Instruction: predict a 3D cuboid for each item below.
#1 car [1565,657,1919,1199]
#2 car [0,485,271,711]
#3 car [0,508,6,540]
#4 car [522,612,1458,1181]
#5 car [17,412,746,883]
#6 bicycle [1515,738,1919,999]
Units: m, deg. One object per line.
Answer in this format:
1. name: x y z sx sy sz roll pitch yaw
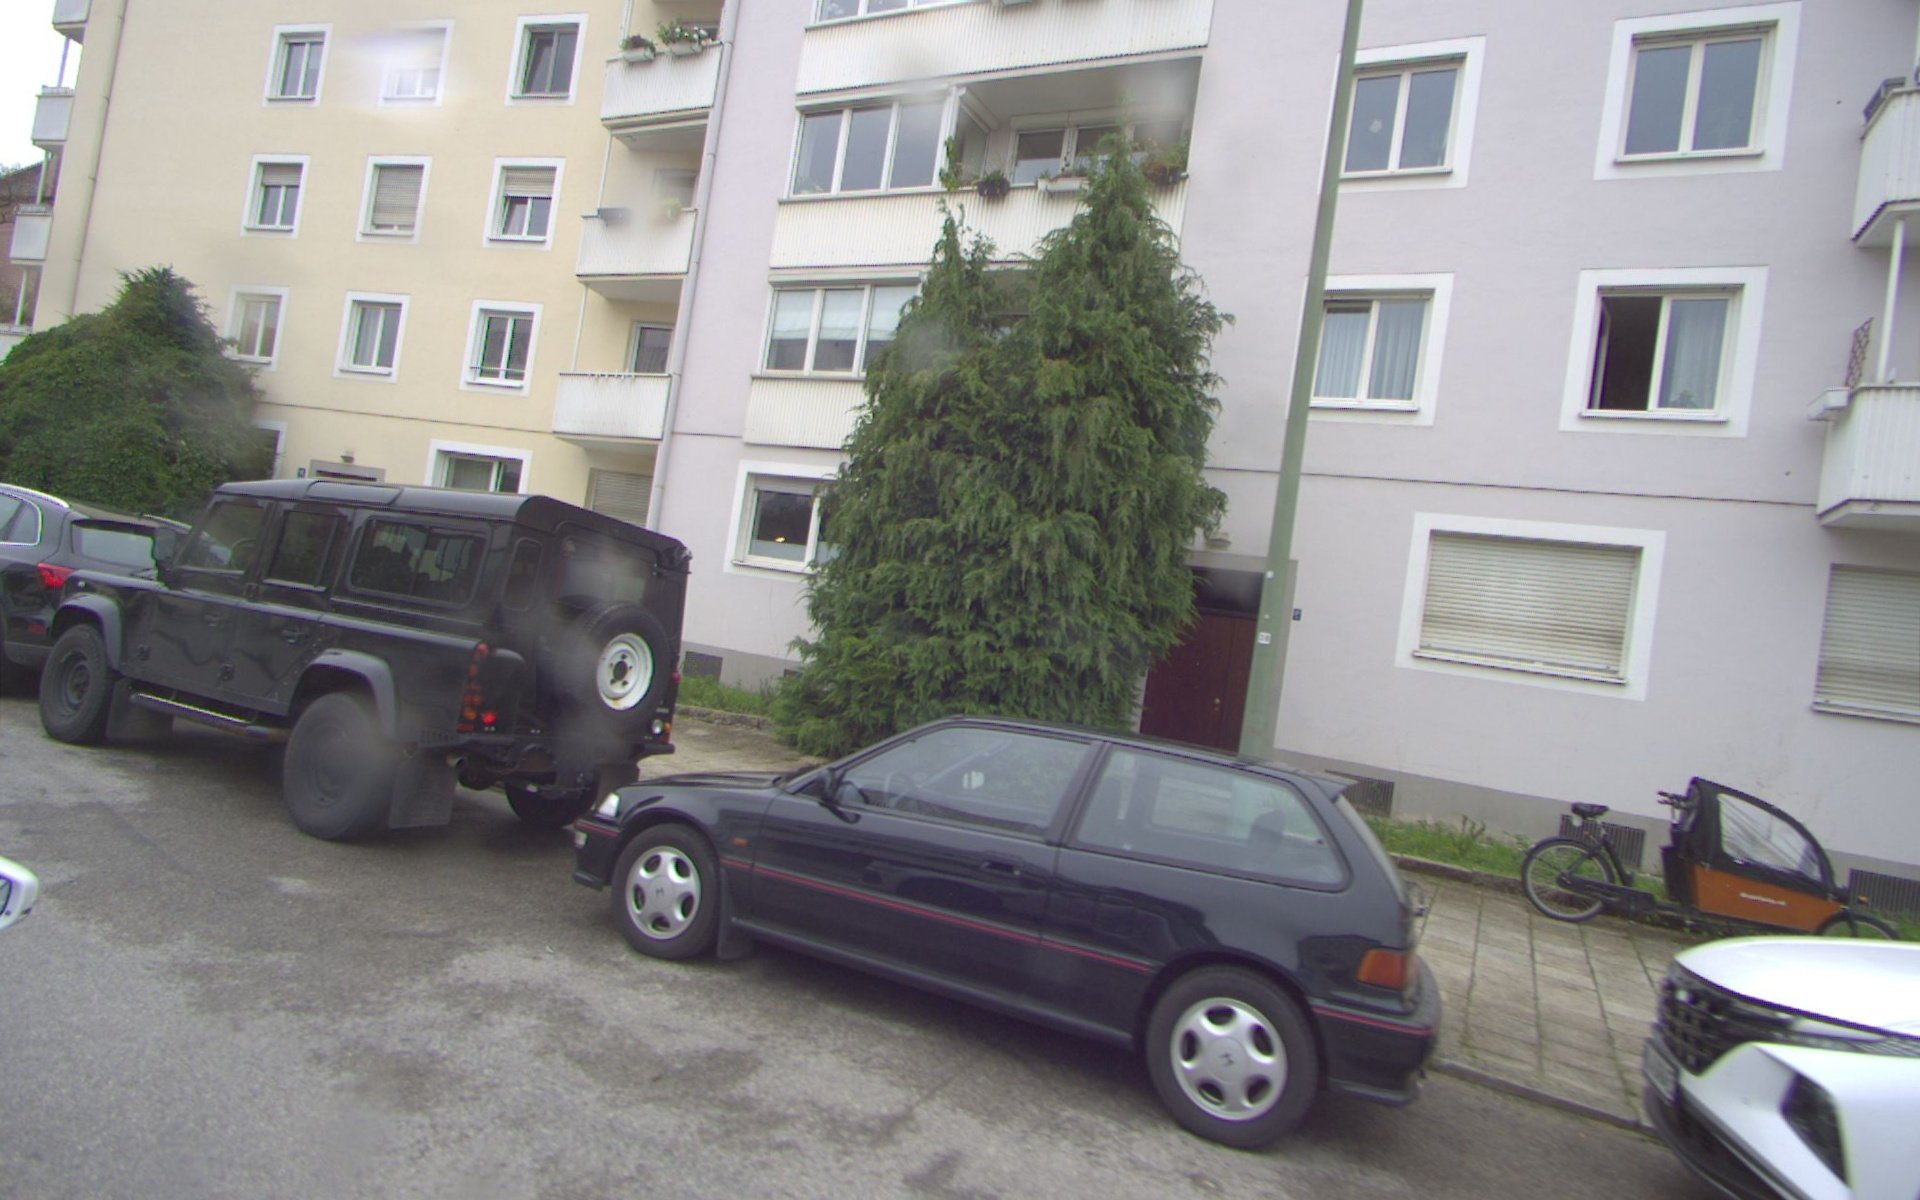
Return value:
1. car: 4.437 1.442 2.611 4.530 1.695 2.035 9 -4 26
2. car: -8.575 -0.186 9.027 4.432 1.582 1.666 8 -4 24
3. car: -12.697 -0.651 10.835 3.969 1.410 1.764 7 -4 20
4. car: 0.101 1.056 4.703 3.735 1.363 1.667 7 -4 22
5. car: -3.910 0.163 6.712 4.435 2.103 1.755 9 -3 26
6. bicycle: 5.921 2.028 7.987 2.426 1.385 0.744 8 1 24
